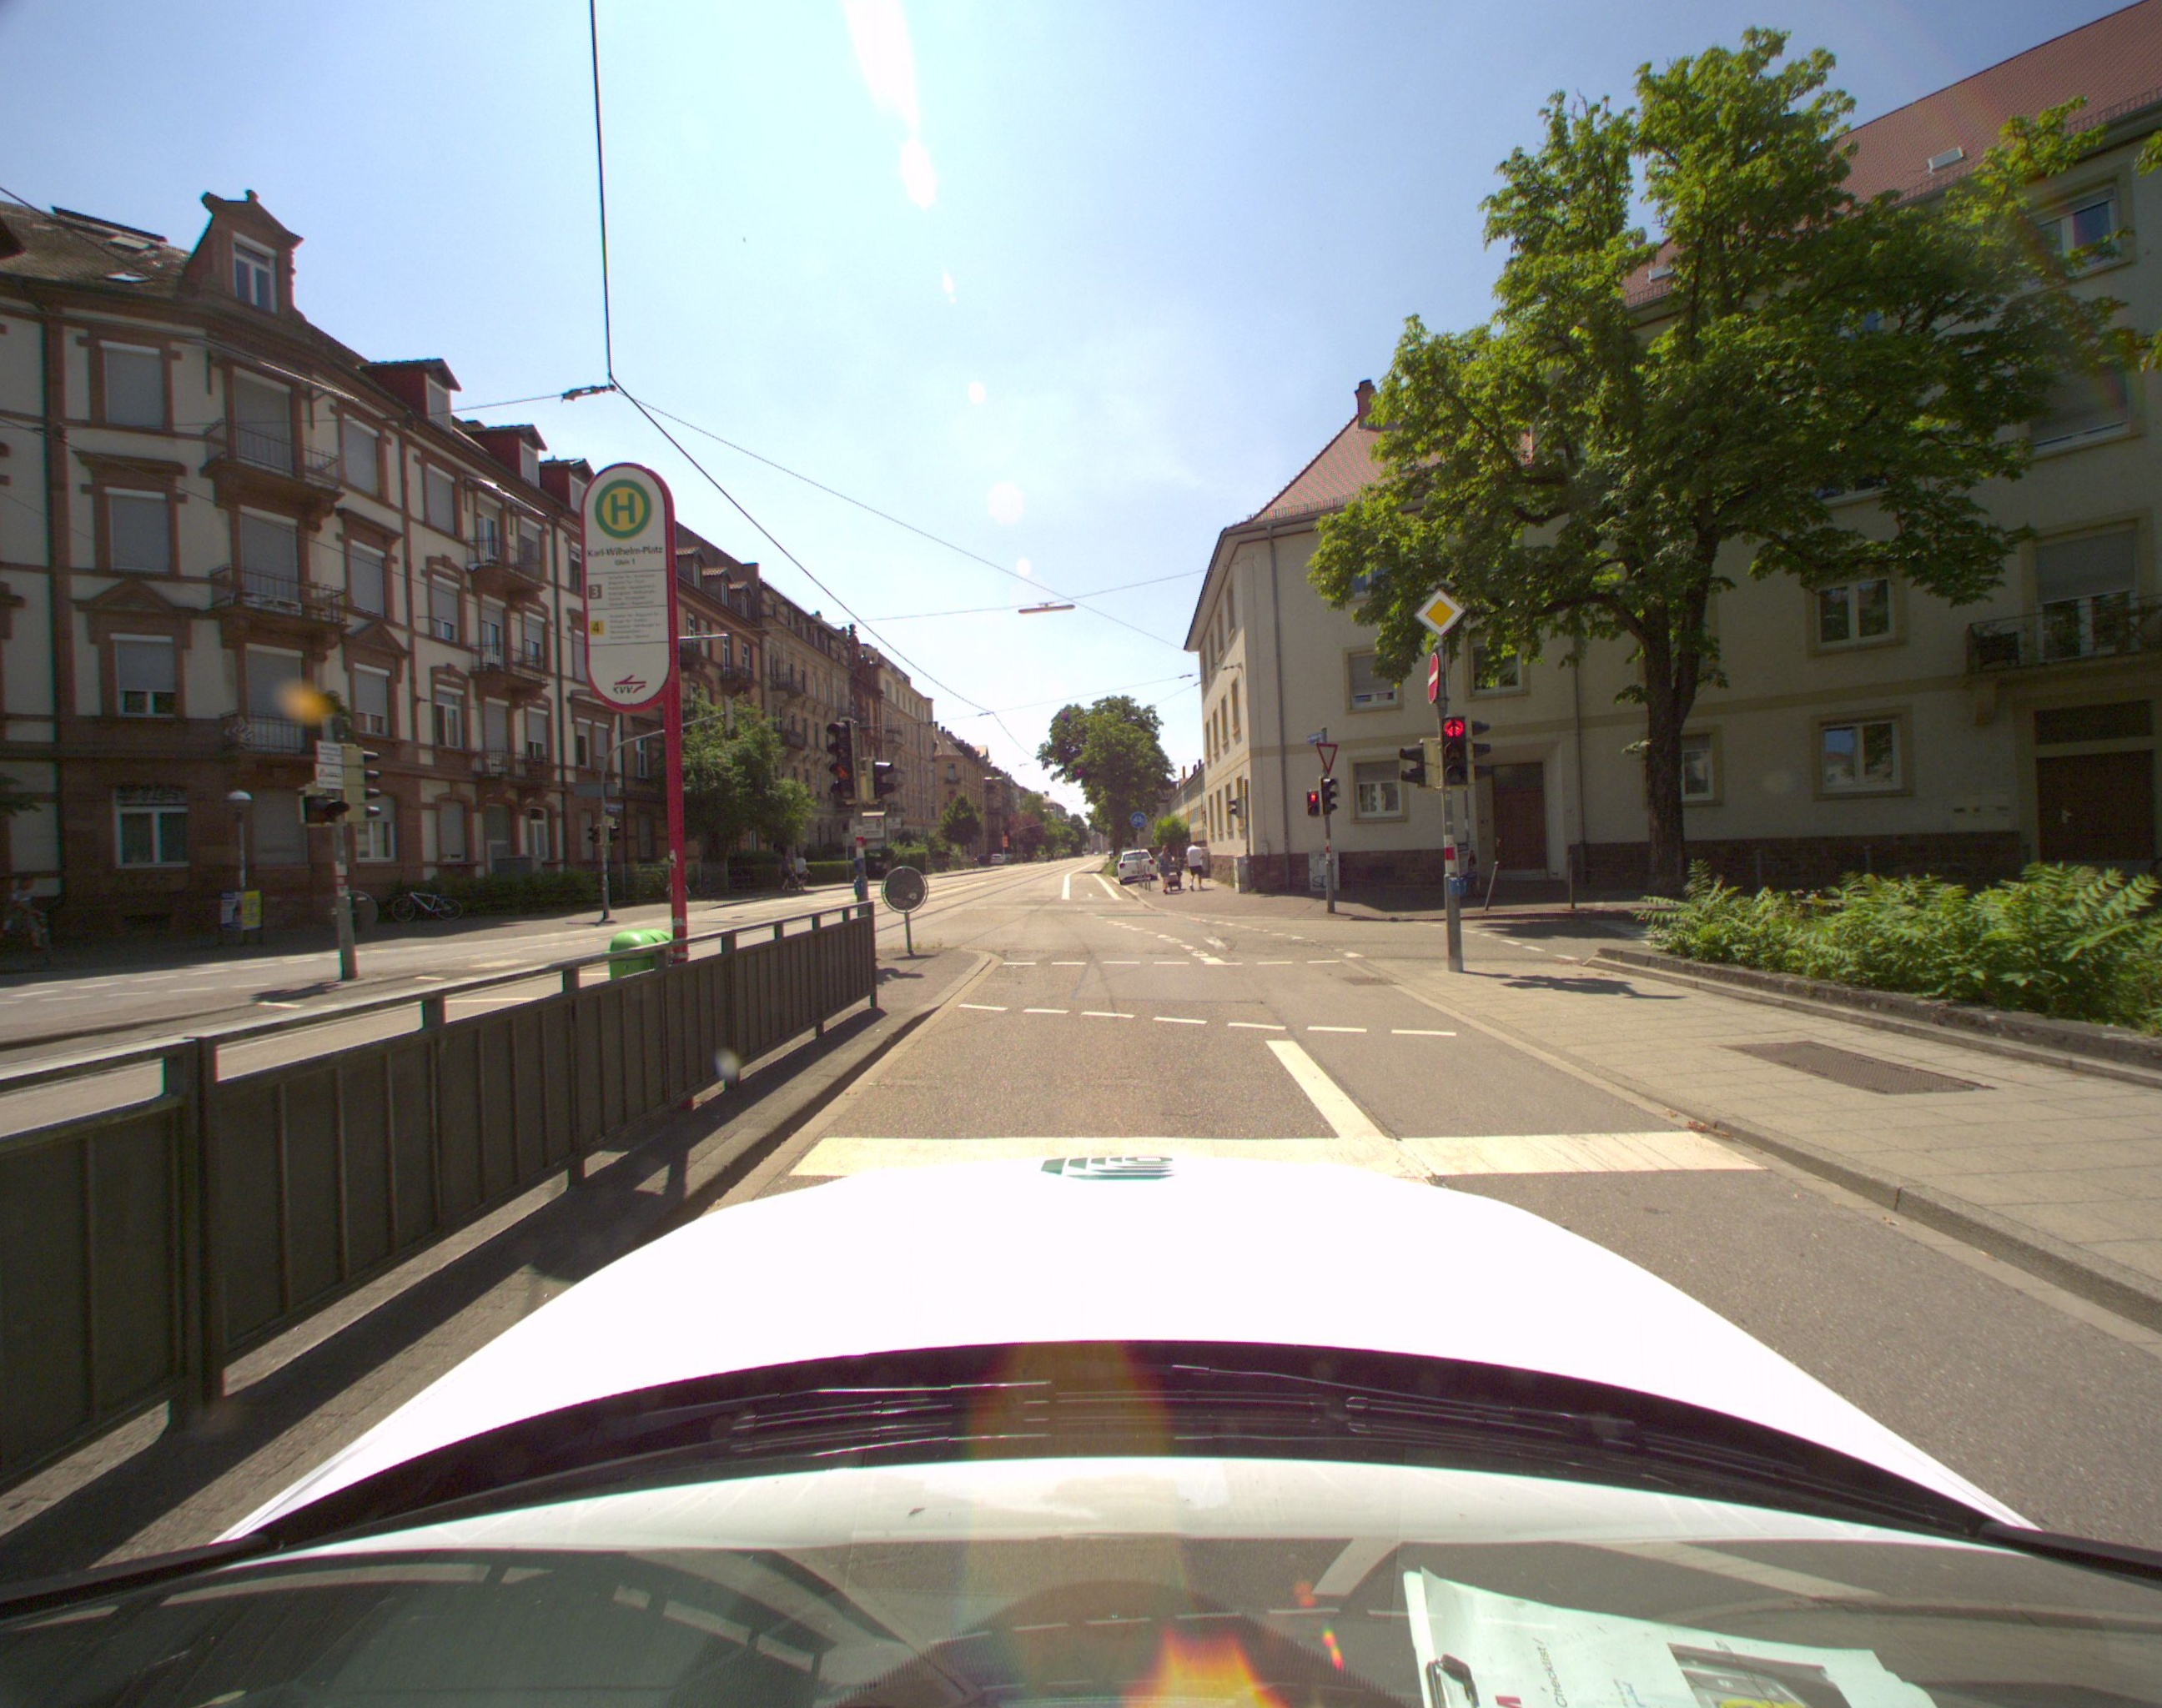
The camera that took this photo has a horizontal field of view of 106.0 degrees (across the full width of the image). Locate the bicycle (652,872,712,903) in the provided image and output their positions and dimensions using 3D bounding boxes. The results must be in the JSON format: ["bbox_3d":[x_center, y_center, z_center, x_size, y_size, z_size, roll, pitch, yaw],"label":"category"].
[{"bbox_3d":[-15.671,1.299,32.076,0.934,1.136,2.774,0,-1,1],"label":"bicycle"}]

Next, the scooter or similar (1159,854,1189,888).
[{"bbox_3d":[3.226,0.574,28.257,0.551,1.155,1.213,-1,-1,32],"label":"scooter or similar"}]

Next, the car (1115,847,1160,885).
[{"bbox_3d":[2.524,0.531,37.405,1.808,1.516,4.001,-4,-1,2],"label":"car"}]

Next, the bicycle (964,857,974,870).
[{"bbox_3d":[-11.711,0.956,85.130,0.675,1.278,1.918,-2,0,-1],"label":"bicycle"}]

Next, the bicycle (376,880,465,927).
[{"bbox_3d":[-19.556,1.436,24.154,0.557,1.294,1.975,-1,-1,43],"label":"bicycle"}]

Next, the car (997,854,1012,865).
[{"bbox_3d":[-11.662,0.874,124.323,1.912,1.715,4.001,0,-1,2],"label":"car"}]

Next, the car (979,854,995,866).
[{"bbox_3d":[-14.334,0.895,124.461,1.912,1.715,4.001,0,-1,2],"label":"car"}]

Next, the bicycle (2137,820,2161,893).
[{"bbox_3d":[17.009,0.021,12.078,0.527,1.104,1.589,-2,0,-34],"label":"bicycle"}]

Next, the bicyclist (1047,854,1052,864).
[{"bbox_3d":[-5.638,0.831,144.936,0.724,1.768,1.080,0,-1,3],"label":"bicyclist"}]

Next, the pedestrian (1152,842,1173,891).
[{"bbox_3d":[2.748,0.412,27.422,0.552,1.645,0.680,-1,-1,18],"label":"pedestrian"}]

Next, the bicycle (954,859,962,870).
[{"bbox_3d":[-12.155,1.029,80.493,0.677,1.064,1.912,-2,0,-9],"label":"bicycle"}]

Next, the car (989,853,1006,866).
[{"bbox_3d":[-11.882,0.809,116.059,1.912,1.715,4.001,0,-1,2],"label":"car"}]

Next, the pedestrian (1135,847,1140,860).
[{"bbox_3d":[7.077,-0.062,101.243,0.519,1.562,0.573,-2,0,1],"label":"pedestrian"}]

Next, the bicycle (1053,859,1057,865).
[{"bbox_3d":[-5.257,1.626,166.090,0.724,1.123,2.087,0,-1,4],"label":"bicycle"}]

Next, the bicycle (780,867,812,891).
[{"bbox_3d":[-14.395,1.253,41.250,0.936,1.136,2.767,0,-1,-7],"label":"bicycle"}]

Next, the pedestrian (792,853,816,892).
[{"bbox_3d":[-13.261,0.865,39.006,0.813,1.822,0.874,0,1,2],"label":"pedestrian"}]

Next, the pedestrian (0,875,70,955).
[{"bbox_3d":[-23.446,1.342,18.070,1.067,1.689,0.714,-2,0,-36],"label":"pedestrian"}]

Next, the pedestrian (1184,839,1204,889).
[{"bbox_3d":[3.804,0.344,27.435,0.552,1.645,0.680,-1,-1,18],"label":"pedestrian"}]

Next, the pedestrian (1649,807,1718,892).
[{"bbox_3d":[12.942,-0.097,17.512,1.043,1.690,0.658,-5,3,36],"label":"pedestrian"}]

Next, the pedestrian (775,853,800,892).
[{"bbox_3d":[-14.022,0.876,38.958,0.813,1.822,0.874,0,1,2],"label":"pedestrian"}]

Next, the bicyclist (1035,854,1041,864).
[{"bbox_3d":[-6.755,0.799,127.307,0.724,1.629,1.080,0,-1,3],"label":"bicyclist"}]

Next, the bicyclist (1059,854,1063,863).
[{"bbox_3d":[-4.062,0.948,166.093,0.724,1.818,1.080,0,-1,3],"label":"bicyclist"}]

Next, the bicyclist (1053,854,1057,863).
[{"bbox_3d":[-5.251,0.980,166.137,0.724,1.818,1.080,0,-1,3],"label":"bicyclist"}]
